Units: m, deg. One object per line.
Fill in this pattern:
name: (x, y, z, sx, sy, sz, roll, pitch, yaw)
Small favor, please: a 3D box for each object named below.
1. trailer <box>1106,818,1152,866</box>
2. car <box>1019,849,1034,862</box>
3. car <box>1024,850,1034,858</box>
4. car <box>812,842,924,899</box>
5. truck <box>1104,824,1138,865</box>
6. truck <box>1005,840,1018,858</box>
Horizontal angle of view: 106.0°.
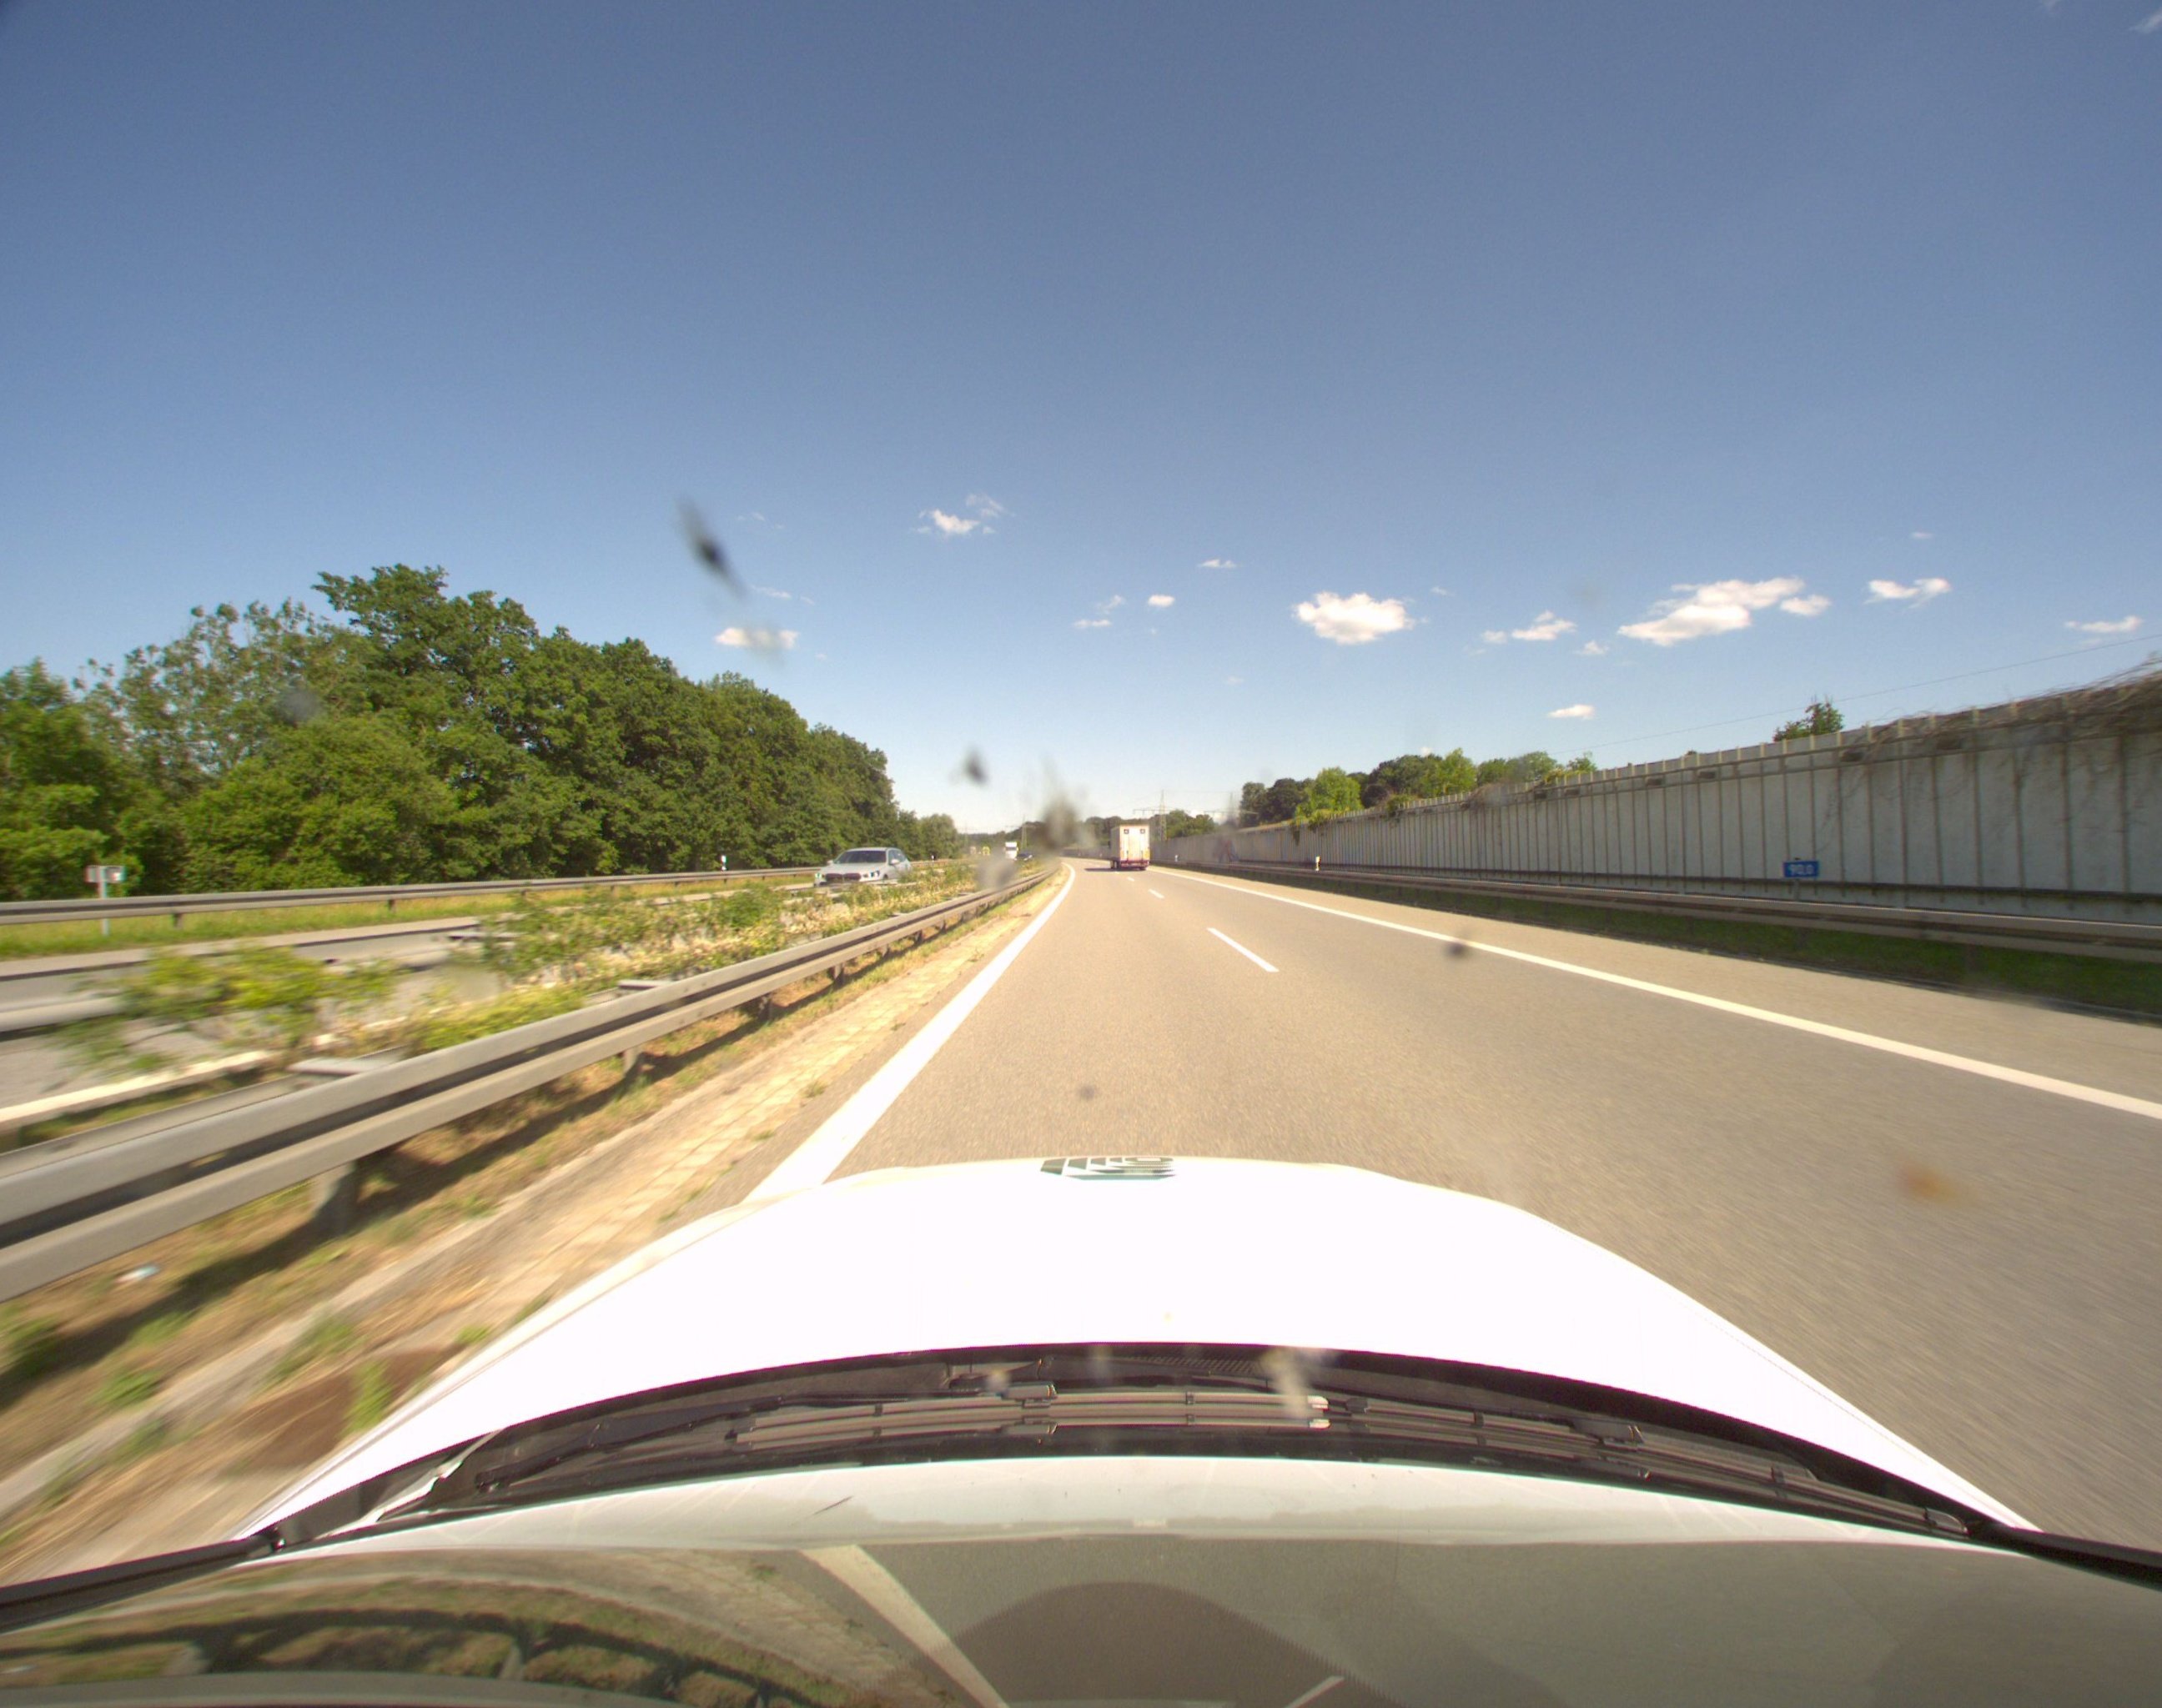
trailer: (4.311, -1.005, 76.087, 2.877, 4.066, 12.407, -1, 0, -3)
car: (-6.709, 0.149, 100.607, 1.655, 1.450, 4.245, -2, 0, -1)
car: (-10.772, 0.047, 169.759, 1.837, 1.606, 3.998, -1, 0, -1)
car: (-6.272, 0.429, 24.565, 1.924, 1.505, 4.796, -2, 0, 2)
truck: (3.994, -0.919, 82.202, 2.824, 4.012, 6.580, -1, 0, -3)
truck: (-15.769, -1.072, 184.230, 2.622, 3.839, 6.794, -1, 0, -6)
